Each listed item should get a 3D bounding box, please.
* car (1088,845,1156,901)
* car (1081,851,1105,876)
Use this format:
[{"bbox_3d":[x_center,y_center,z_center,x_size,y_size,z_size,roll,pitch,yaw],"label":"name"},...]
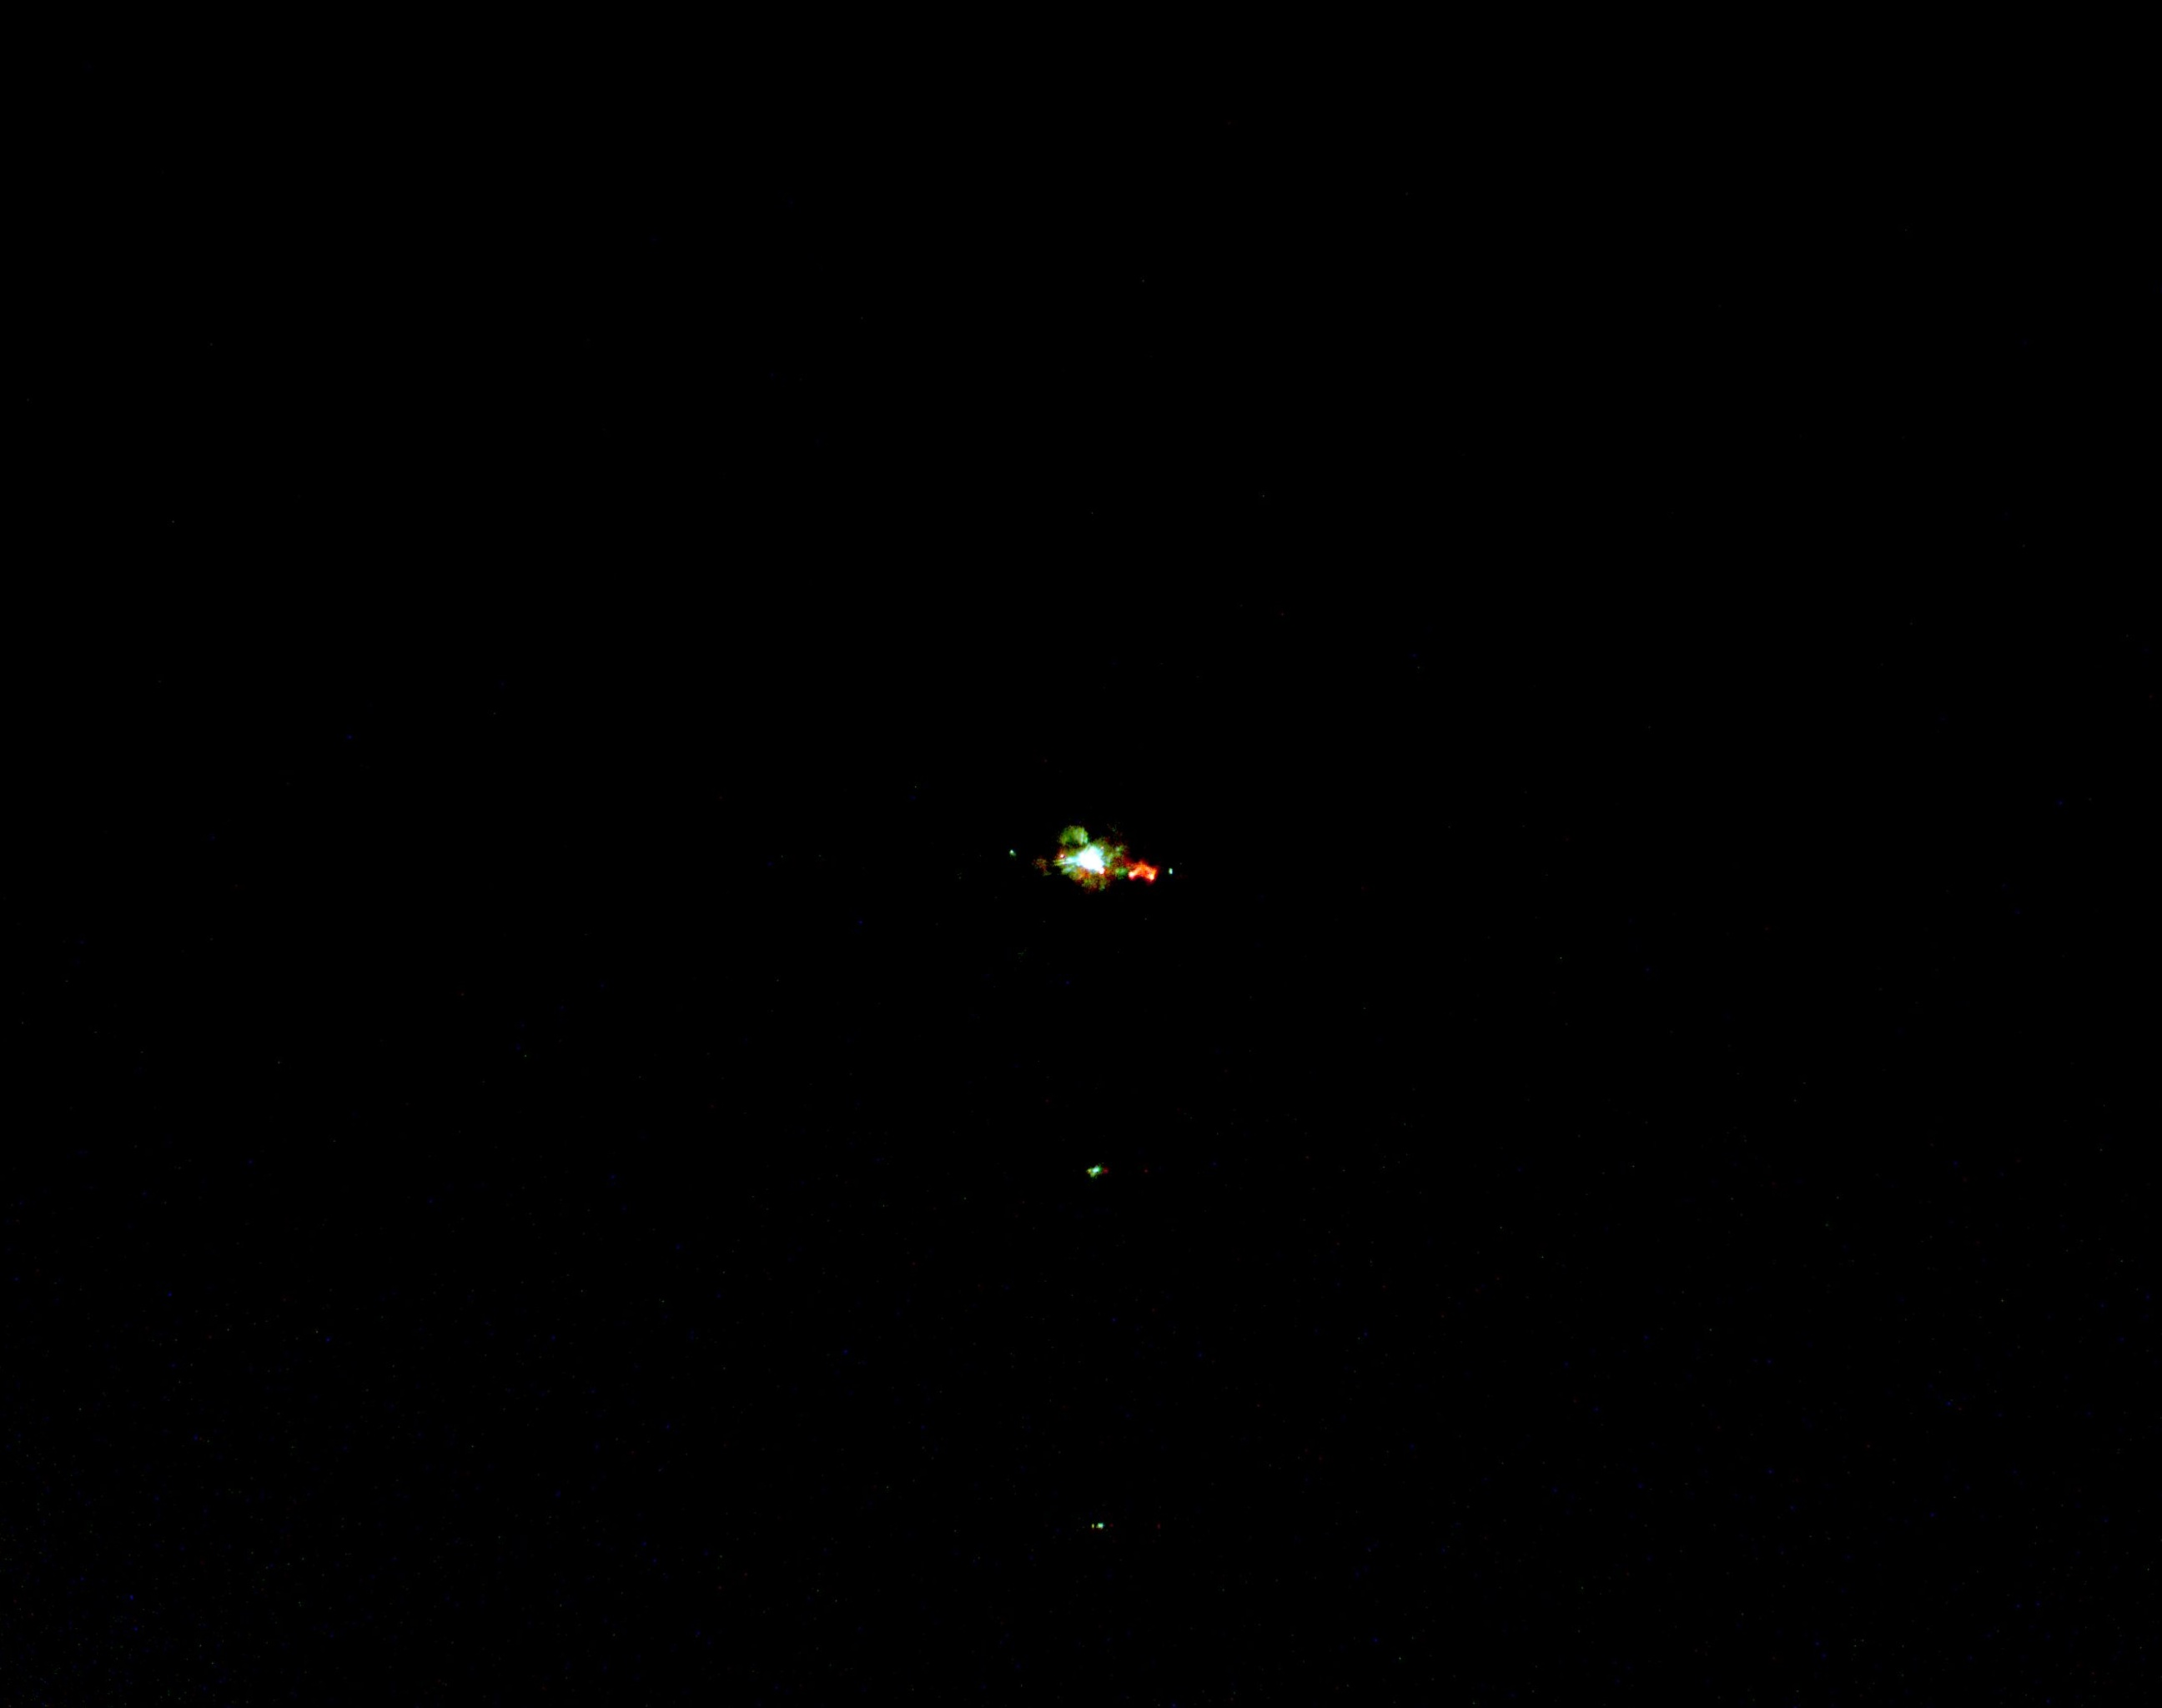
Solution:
[{"bbox_3d":[1.643,0.782,32.837,2.448,1.958,4.914,-4,-2,2],"label":"car"},{"bbox_3d":[1.053,0.819,70.427,1.987,2.013,4.000,-2,0,0],"label":"car"}]
